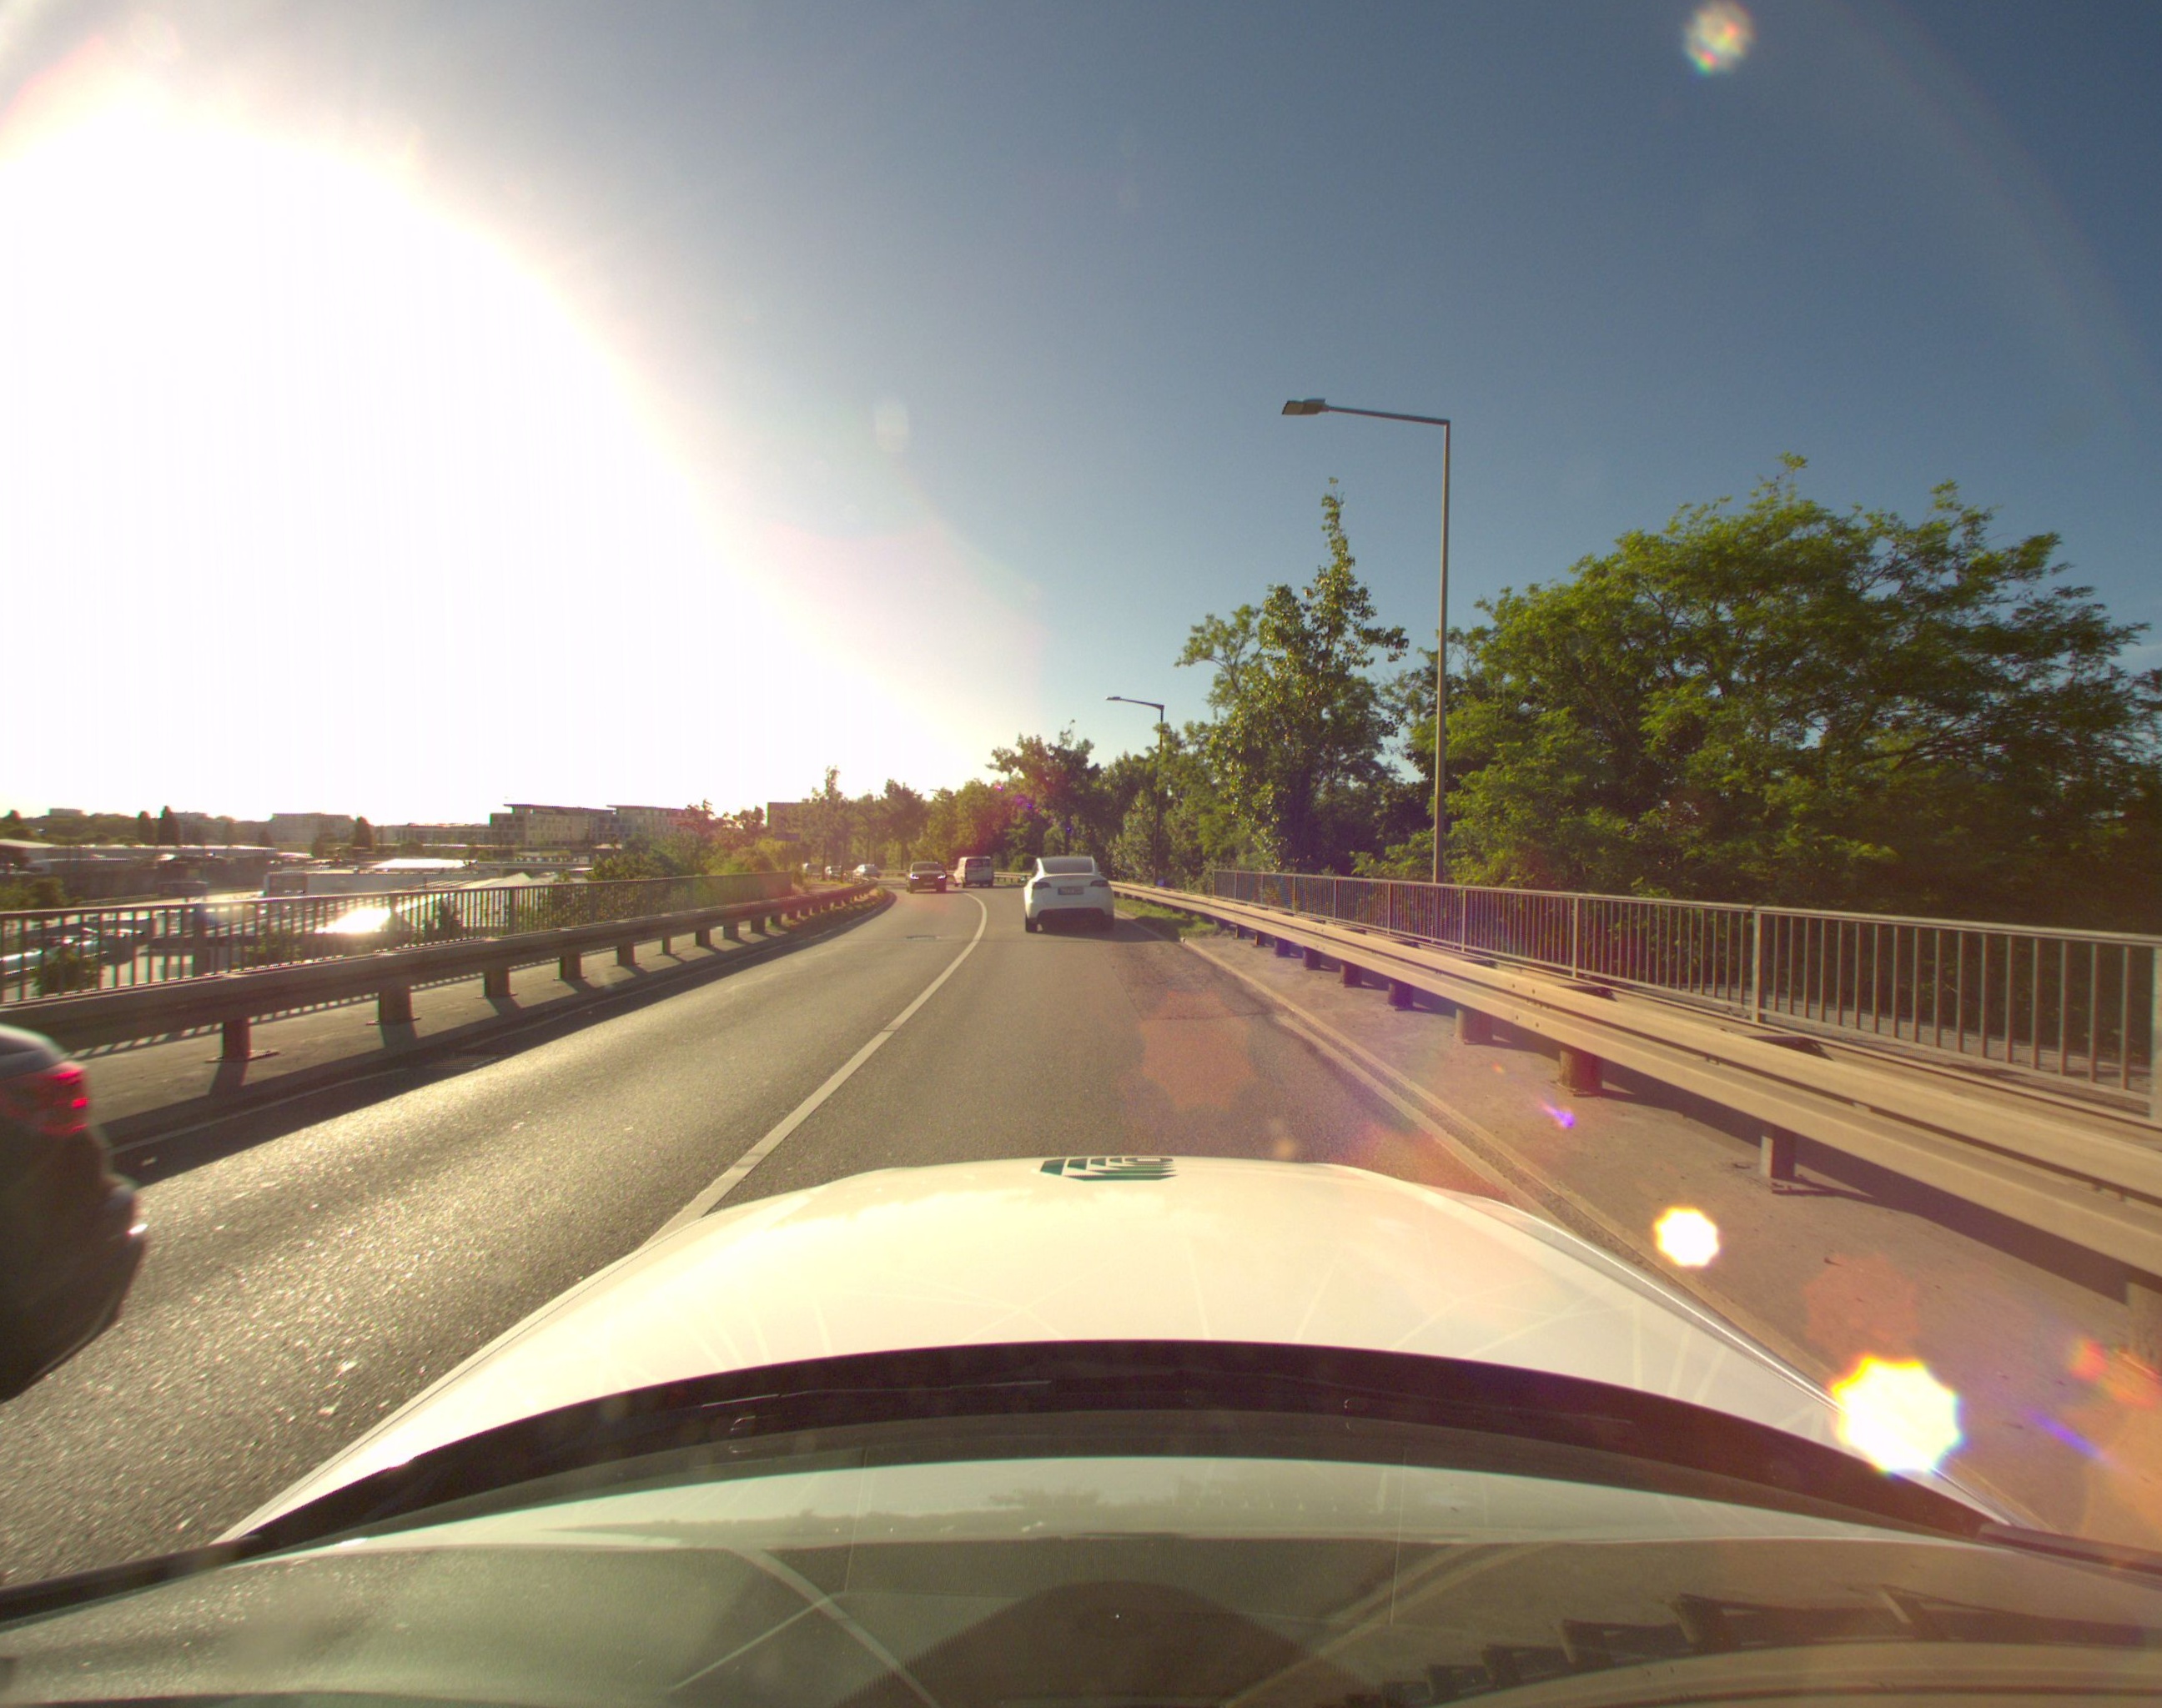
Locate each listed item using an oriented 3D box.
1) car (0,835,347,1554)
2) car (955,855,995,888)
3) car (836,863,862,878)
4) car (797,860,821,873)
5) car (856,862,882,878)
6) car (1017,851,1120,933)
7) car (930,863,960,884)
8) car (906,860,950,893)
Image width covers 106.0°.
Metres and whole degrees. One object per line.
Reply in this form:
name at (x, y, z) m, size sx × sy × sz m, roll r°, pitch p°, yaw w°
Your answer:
car at (-3.272, 0.752, 0.485) m, size 1.817 × 1.552 × 4.185 m, roll -1°, pitch 0°, yaw 1°
car at (-6.646, 1.033, 50.766) m, size 2.008 × 1.940 × 4.447 m, roll -1°, pitch 0°, yaw -13°
car at (-23.654, 1.691, 83.000) m, size 1.802 × 1.431 × 3.792 m, roll -1°, pitch 0°, yaw -27°
car at (-34.839, 1.610, 104.171) m, size 1.849 × 1.555 × 3.850 m, roll -1°, pitch 0°, yaw -36°
car at (-22.280, 1.669, 85.560) m, size 1.870 × 1.585 × 3.879 m, roll -1°, pitch 0°, yaw -27°
car at (-0.406, 0.778, 18.635) m, size 1.983 × 1.638 × 4.053 m, roll -1°, pitch 0°, yaw -6°
car at (-11.200, 1.579, 66.912) m, size 1.865 × 1.585 × 3.890 m, roll -1°, pitch 0°, yaw -18°
car at (-8.331, 1.173, 44.031) m, size 1.902 × 1.643 × 4.438 m, roll -1°, pitch 0°, yaw -17°
